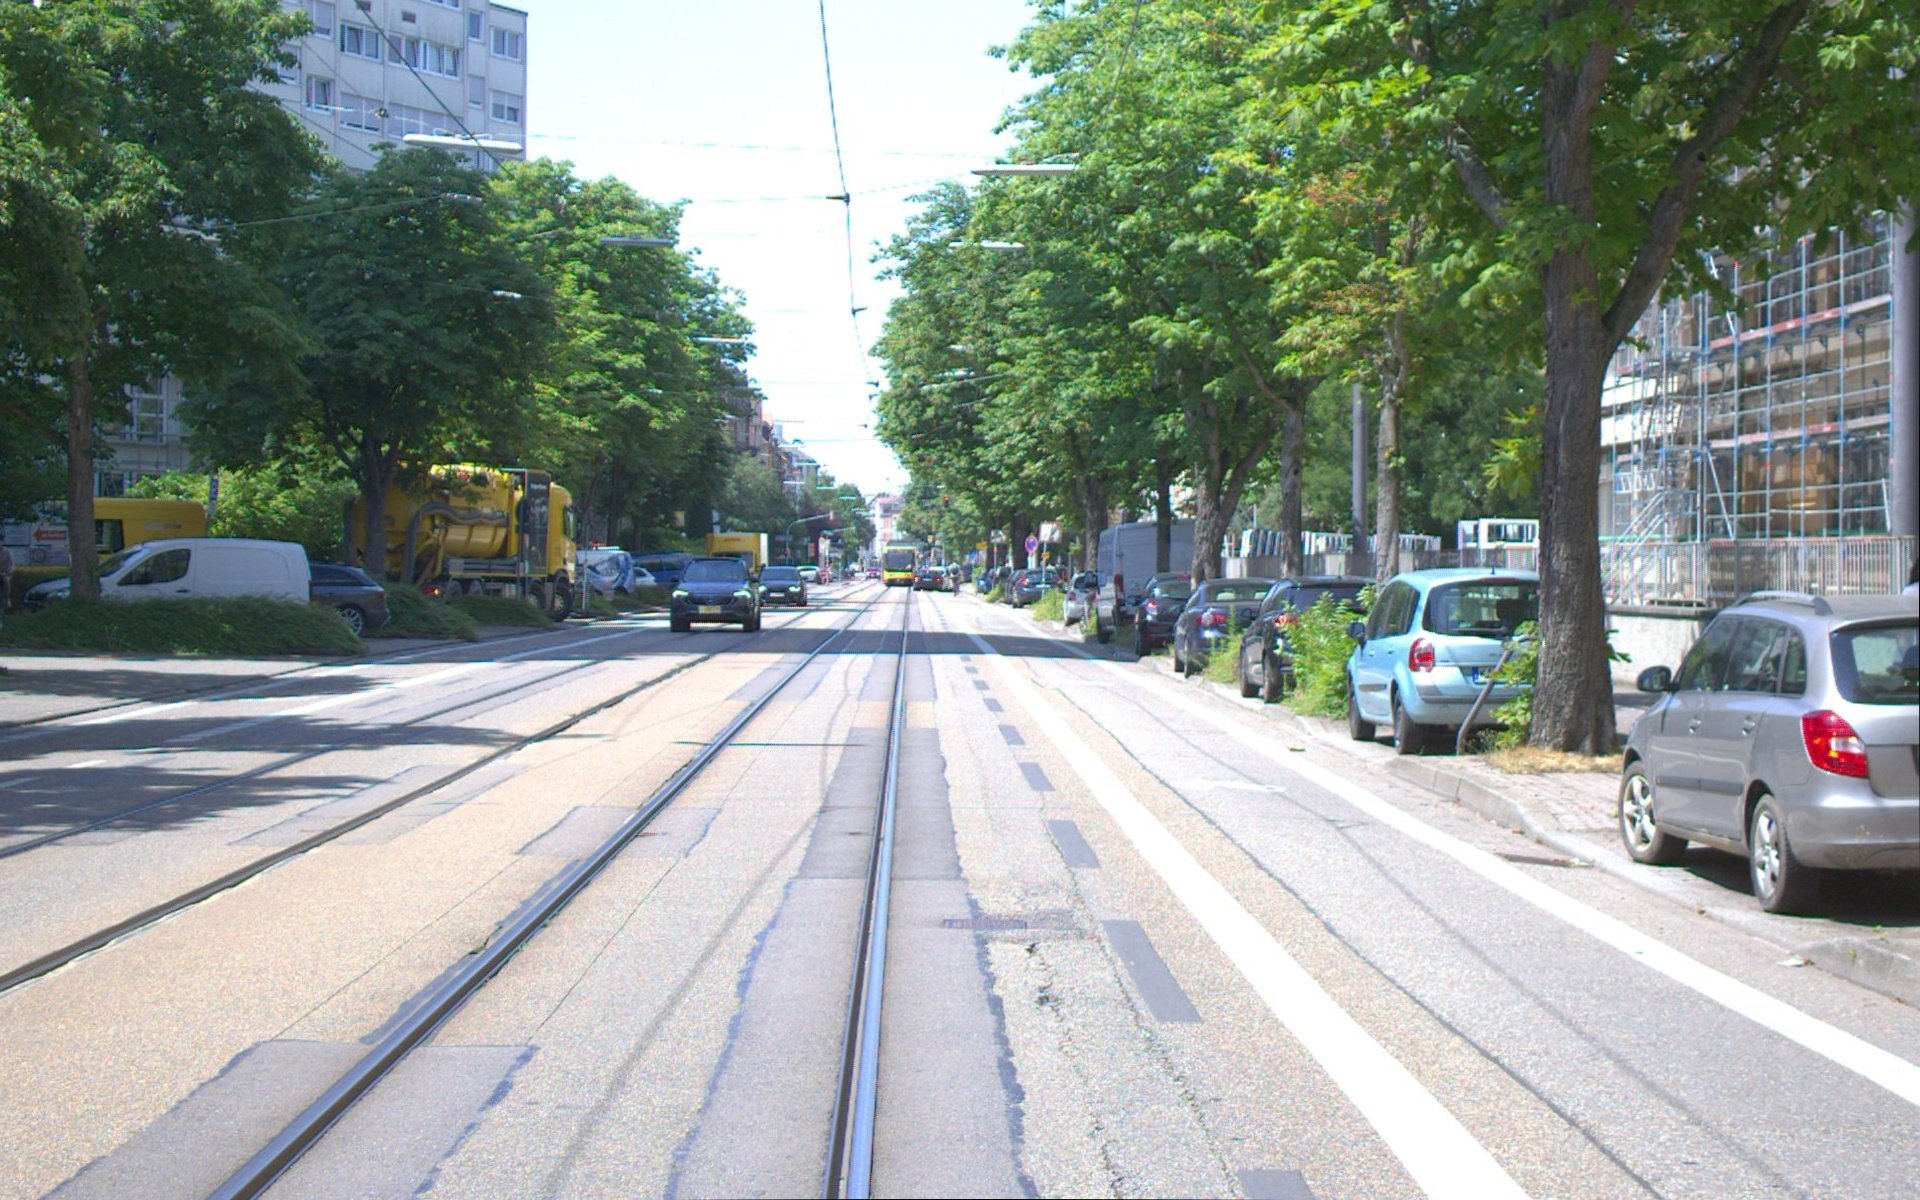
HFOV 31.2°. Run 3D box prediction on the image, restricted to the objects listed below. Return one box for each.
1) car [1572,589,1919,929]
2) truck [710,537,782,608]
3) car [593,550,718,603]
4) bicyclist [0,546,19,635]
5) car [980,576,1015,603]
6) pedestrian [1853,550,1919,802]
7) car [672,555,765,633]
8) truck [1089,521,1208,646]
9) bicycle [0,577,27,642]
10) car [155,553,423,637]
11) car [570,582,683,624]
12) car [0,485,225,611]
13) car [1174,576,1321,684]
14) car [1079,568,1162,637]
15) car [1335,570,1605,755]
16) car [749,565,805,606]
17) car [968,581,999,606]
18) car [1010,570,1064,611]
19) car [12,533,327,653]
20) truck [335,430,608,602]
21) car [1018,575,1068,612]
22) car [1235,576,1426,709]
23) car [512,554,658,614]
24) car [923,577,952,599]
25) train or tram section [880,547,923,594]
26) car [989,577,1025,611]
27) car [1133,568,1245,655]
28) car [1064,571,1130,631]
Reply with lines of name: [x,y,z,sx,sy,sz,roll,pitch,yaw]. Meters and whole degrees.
car: [4.530,0.718,17.786,1.671,1.494,4.366,0,1,-4]
truck: [-8.760,-1.134,141.282,2.360,2.843,7.378,-1,1,1]
car: [-12.447,-0.968,140.762,4.748,2.055,2.026,-1,1,-39]
bicyclist: [-16.146,-0.169,57.697,0.480,1.476,0.781,2,1,-3]
car: [2.017,-0.552,185.702,1.710,1.418,4.310,0,0,-1]
pedestrian: [6.294,0.469,22.134,0.799,1.583,0.919,-1,1,-2]
car: [-5.353,-0.157,76.646,1.831,1.675,4.185,0,1,-1]
truck: [3.892,-0.371,71.938,2.014,2.480,5.956,0,1,-1]
bicycle: [-16.160,0.148,57.730,0.518,1.043,1.876,2,1,-3]
car: [-12.173,-0.084,62.469,4.434,1.390,1.772,1,1,-39]
car: [-12.412,0.108,128.012,1.761,1.428,3.990,-2,0,42]
car: [-19.566,-1.116,76.809,2.182,2.557,6.712,1,-1,29]
car: [4.169,0.403,50.450,1.824,1.466,4.486,0,1,1]
car: [3.686,0.044,79.565,1.644,1.529,3.947,0,1,-1]
car: [4.472,0.505,30.711,1.671,1.512,4.202,0,1,-2]
car: [-6.450,-0.527,121.448,1.774,1.392,4.287,0,1,-1]
car: [1.361,-0.386,203.707,1.710,1.418,4.310,0,0,-1]
car: [2.784,-0.339,125.264,1.639,1.480,3.873,0,0,-4]
car: [-12.715,-0.109,55.380,4.533,1.785,1.901,1,1,-33]
truck: [-11.868,-1.942,84.932,2.717,3.828,10.956,2,0,13]
car: [3.313,-0.269,138.089,1.876,1.450,4.528,0,0,0]
car: [4.255,0.460,40.017,1.671,1.433,4.042,0,1,-2]
car: [-12.480,-0.539,114.627,1.920,1.928,4.745,-1,0,42]
car: [-1.367,-0.765,211.781,1.781,1.341,3.416,0,0,0]
train or tram section: [-4.408,-2.243,260.702,3.035,3.427,11.970,0,0,0]
car: [2.280,-0.291,166.468,1.592,1.611,3.908,0,0,-1]
car: [4.058,0.183,61.465,1.824,1.466,4.400,0,1,2]
car: [3.638,0.016,91.473,1.644,1.529,3.785,0,1,1]
